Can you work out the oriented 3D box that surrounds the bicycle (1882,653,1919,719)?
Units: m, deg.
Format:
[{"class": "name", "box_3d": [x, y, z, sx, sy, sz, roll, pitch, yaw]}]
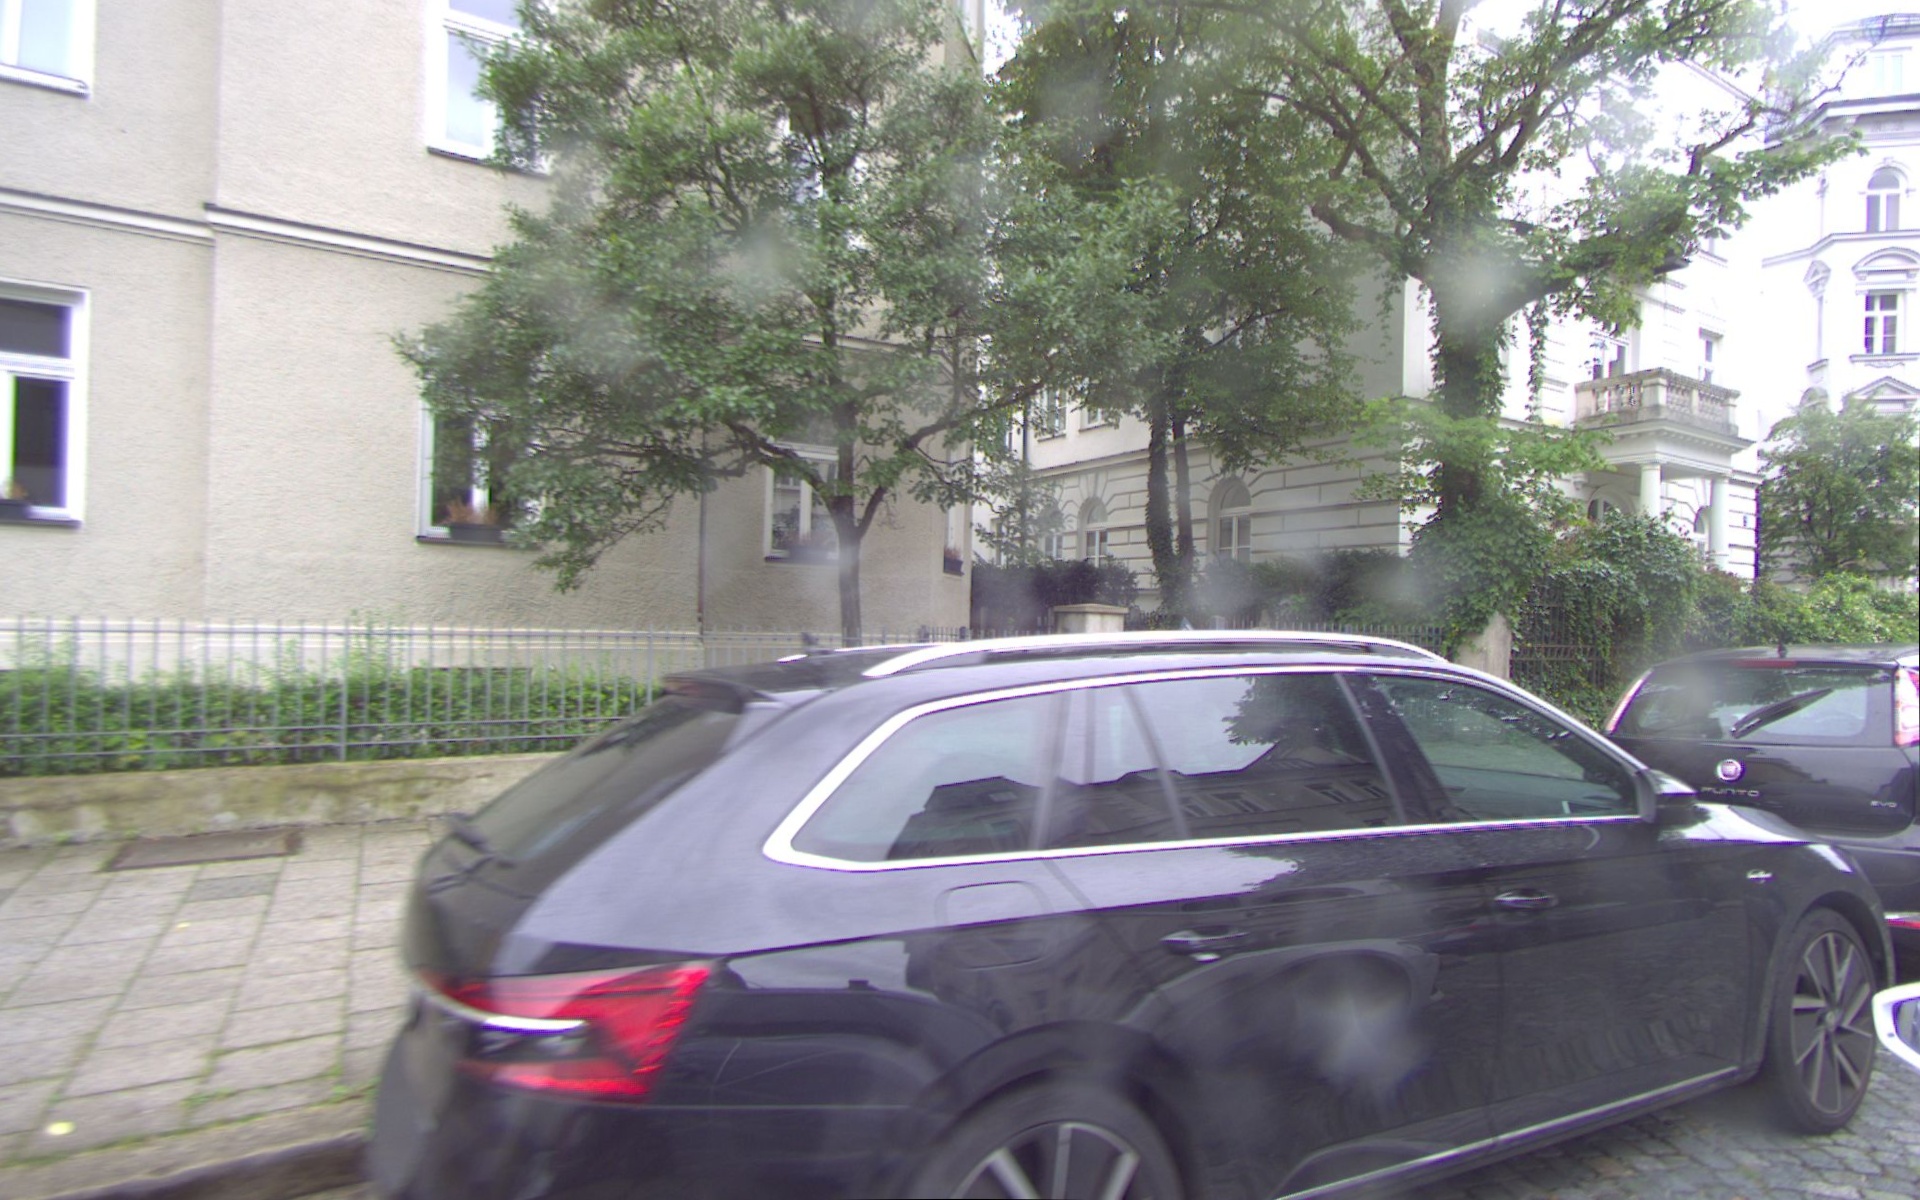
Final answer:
[{"class": "bicycle", "box_3d": [17.483, 1.540, 18.230, 2.028, 1.137, 0.573, 2, -1, -32]}]

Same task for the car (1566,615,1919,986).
[{"class": "car", "box_3d": [5.246, 0.865, 5.558, 4.127, 1.463, 1.652, 2, -2, -34]}]

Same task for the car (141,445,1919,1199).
[{"class": "car", "box_3d": [0.848, 0.730, 3.115, 4.957, 1.581, 1.970, 2, -3, -29]}]

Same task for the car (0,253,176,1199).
[{"class": "car", "box_3d": [-3.620, 0.468, 0.247, 5.118, 1.942, 1.983, 2, -4, -31]}]
